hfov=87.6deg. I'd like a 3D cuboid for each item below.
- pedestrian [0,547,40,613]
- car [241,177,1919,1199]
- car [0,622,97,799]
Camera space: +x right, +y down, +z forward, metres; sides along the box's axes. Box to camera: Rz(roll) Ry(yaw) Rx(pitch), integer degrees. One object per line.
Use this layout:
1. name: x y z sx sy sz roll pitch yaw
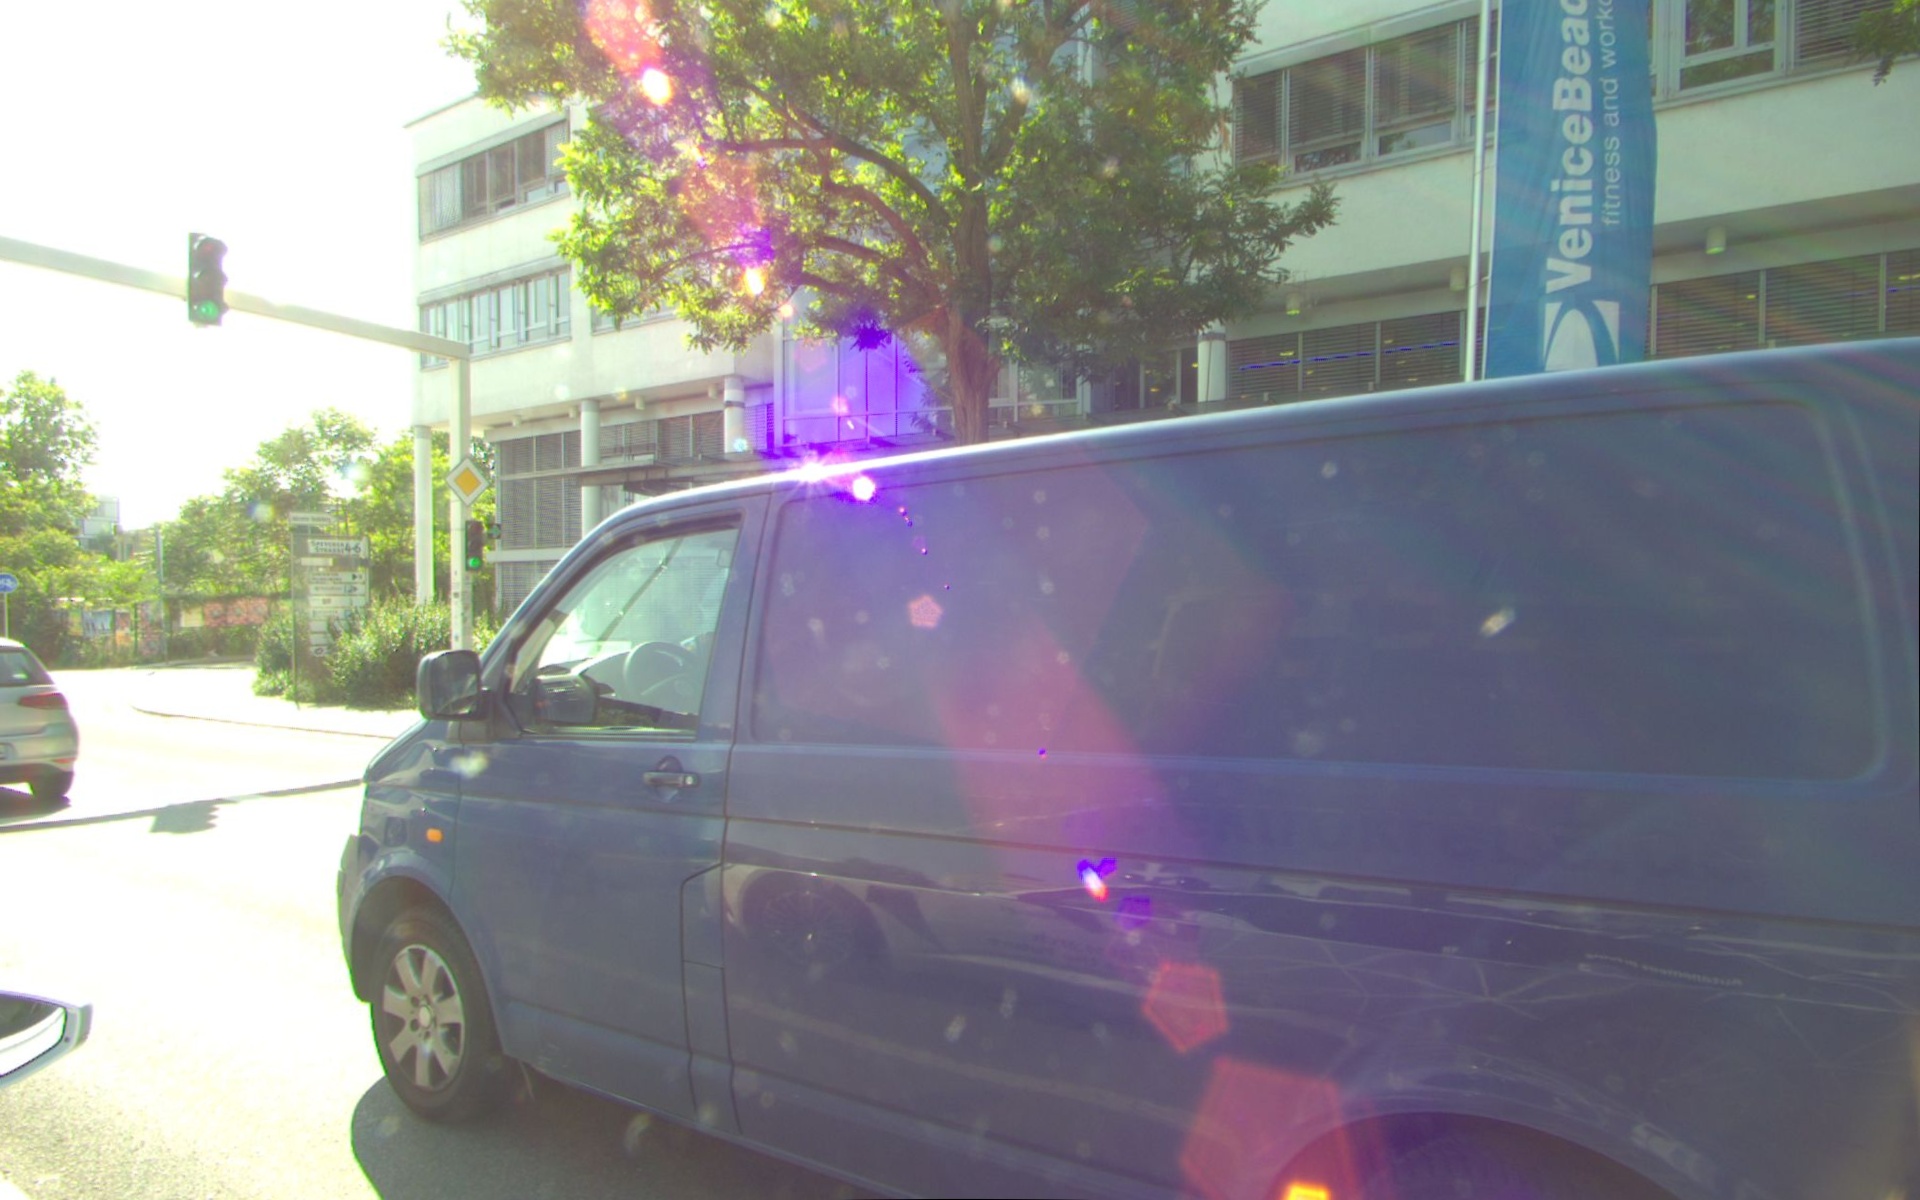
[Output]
1. pedestrian: -29.864 -0.606 31.570 1.024 2.040 1.025 0 0 32
2. car: 0.073 0.539 3.032 4.822 1.973 1.989 -1 -1 32
3. car: -9.743 0.961 9.101 3.943 1.448 1.804 -1 -1 32
